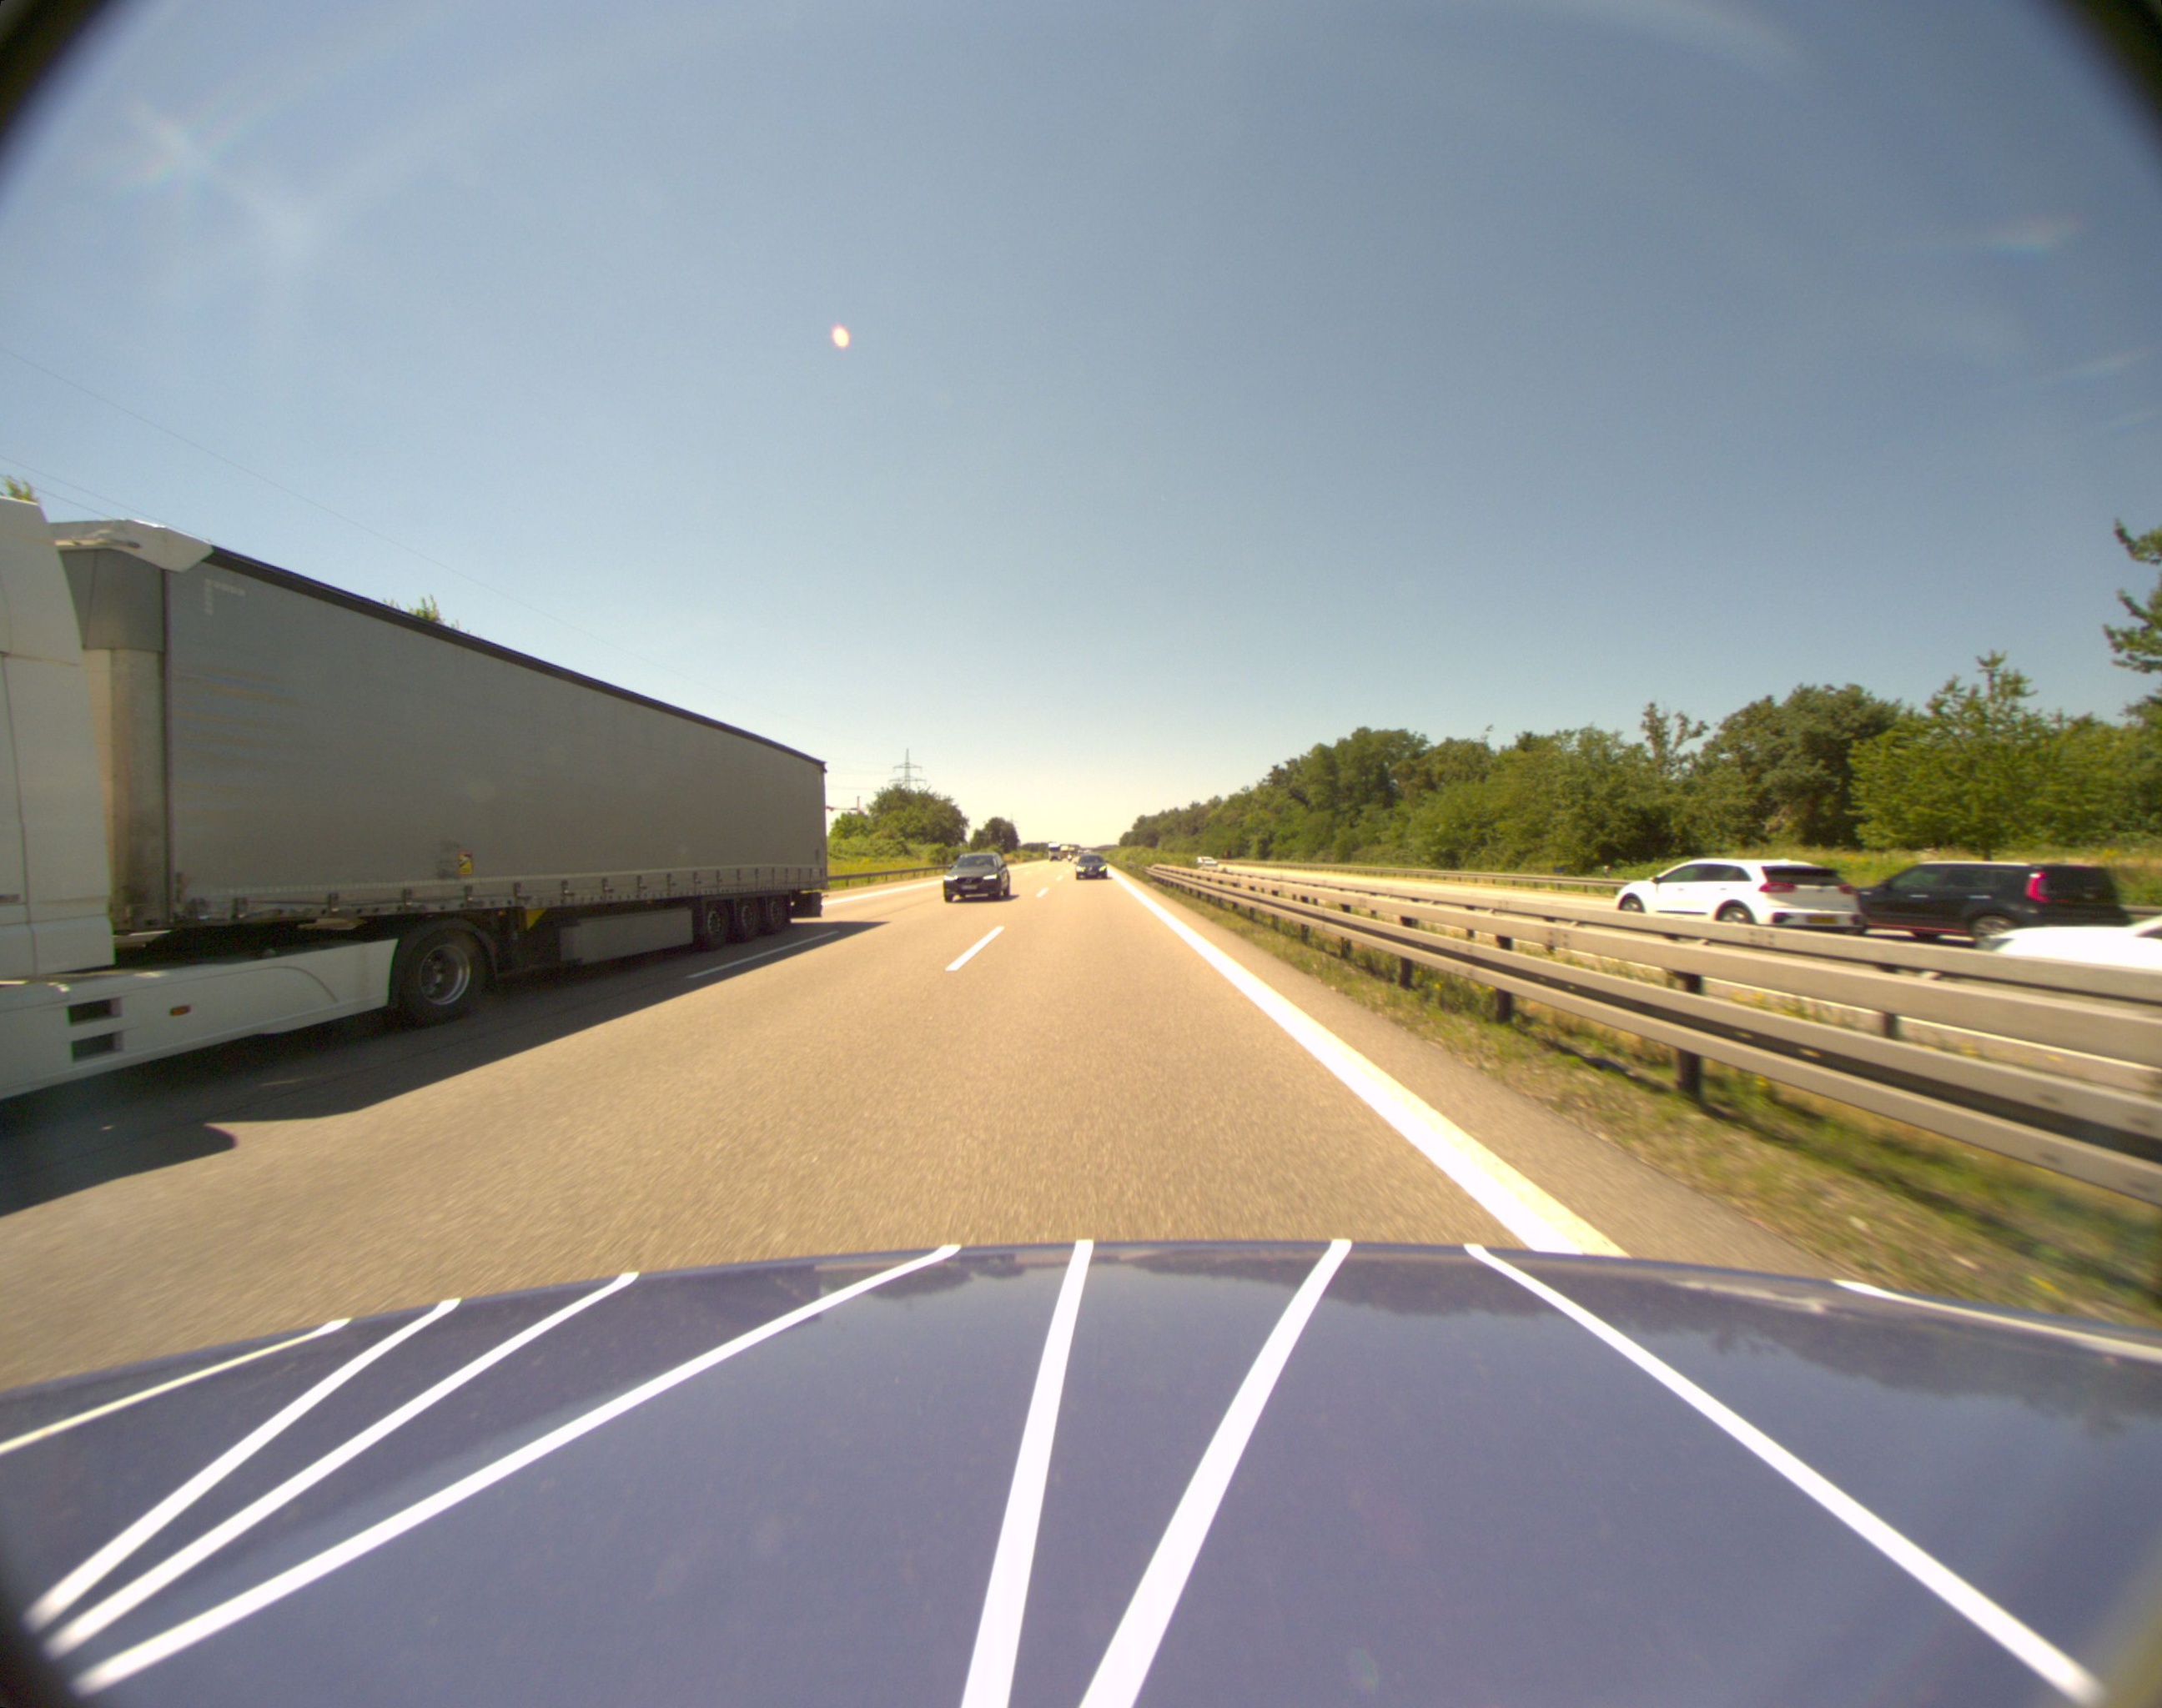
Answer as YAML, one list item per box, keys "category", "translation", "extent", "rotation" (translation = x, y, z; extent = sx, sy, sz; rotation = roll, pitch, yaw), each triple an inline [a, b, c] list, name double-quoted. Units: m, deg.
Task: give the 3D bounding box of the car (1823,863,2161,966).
- category: "car"
  translation: [16.895, 1.015, 14.452]
  extent: [1.737, 1.584, 3.902]
  rotation: [1, 0, 1]

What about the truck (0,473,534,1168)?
- category: "truck"
  translation: [-7.716, -0.184, 5.588]
  extent: [2.743, 4.096, 6.124]
  rotation: [-2, 1, 1]

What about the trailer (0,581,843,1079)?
- category: "trailer"
  translation: [-7.625, -0.233, 12.908]
  extent: [2.743, 4.083, 13.121]
  rotation: [-2, 0, 1]

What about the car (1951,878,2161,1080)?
- category: "car"
  translation: [9.100, 0.994, 5.033]
  extent: [1.799, 1.483, 4.238]
  rotation: [1, 0, 1]

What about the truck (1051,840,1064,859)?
- category: "truck"
  translation: [-5.299, -1.009, 169.206]
  extent: [2.573, 3.871, 5.722]
  rotation: [-2, 1, 0]

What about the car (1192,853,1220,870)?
- category: "car"
  translation: [10.594, 0.609, 64.557]
  extent: [1.693, 1.307, 4.084]
  rotation: [1, 0, 1]

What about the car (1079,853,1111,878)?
- category: "car"
  translation: [0.786, 0.652, 45.417]
  extent: [1.808, 1.385, 3.999]
  rotation: [-2, 1, 0]

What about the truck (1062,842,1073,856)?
- category: "truck"
  translation: [-4.278, -1.665, 242.698]
  extent: [2.978, 4.240, 12.610]
  rotation: [0, 1, 0]

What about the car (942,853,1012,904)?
- category: "car"
  translation: [-3.601, 0.800, 27.080]
  extent: [1.878, 1.614, 4.004]
  rotation: [-1, 0, 0]

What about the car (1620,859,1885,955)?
- category: "car"
  translation: [13.065, 0.942, 15.177]
  extent: [1.840, 1.576, 3.889]
  rotation: [1, 0, 1]
